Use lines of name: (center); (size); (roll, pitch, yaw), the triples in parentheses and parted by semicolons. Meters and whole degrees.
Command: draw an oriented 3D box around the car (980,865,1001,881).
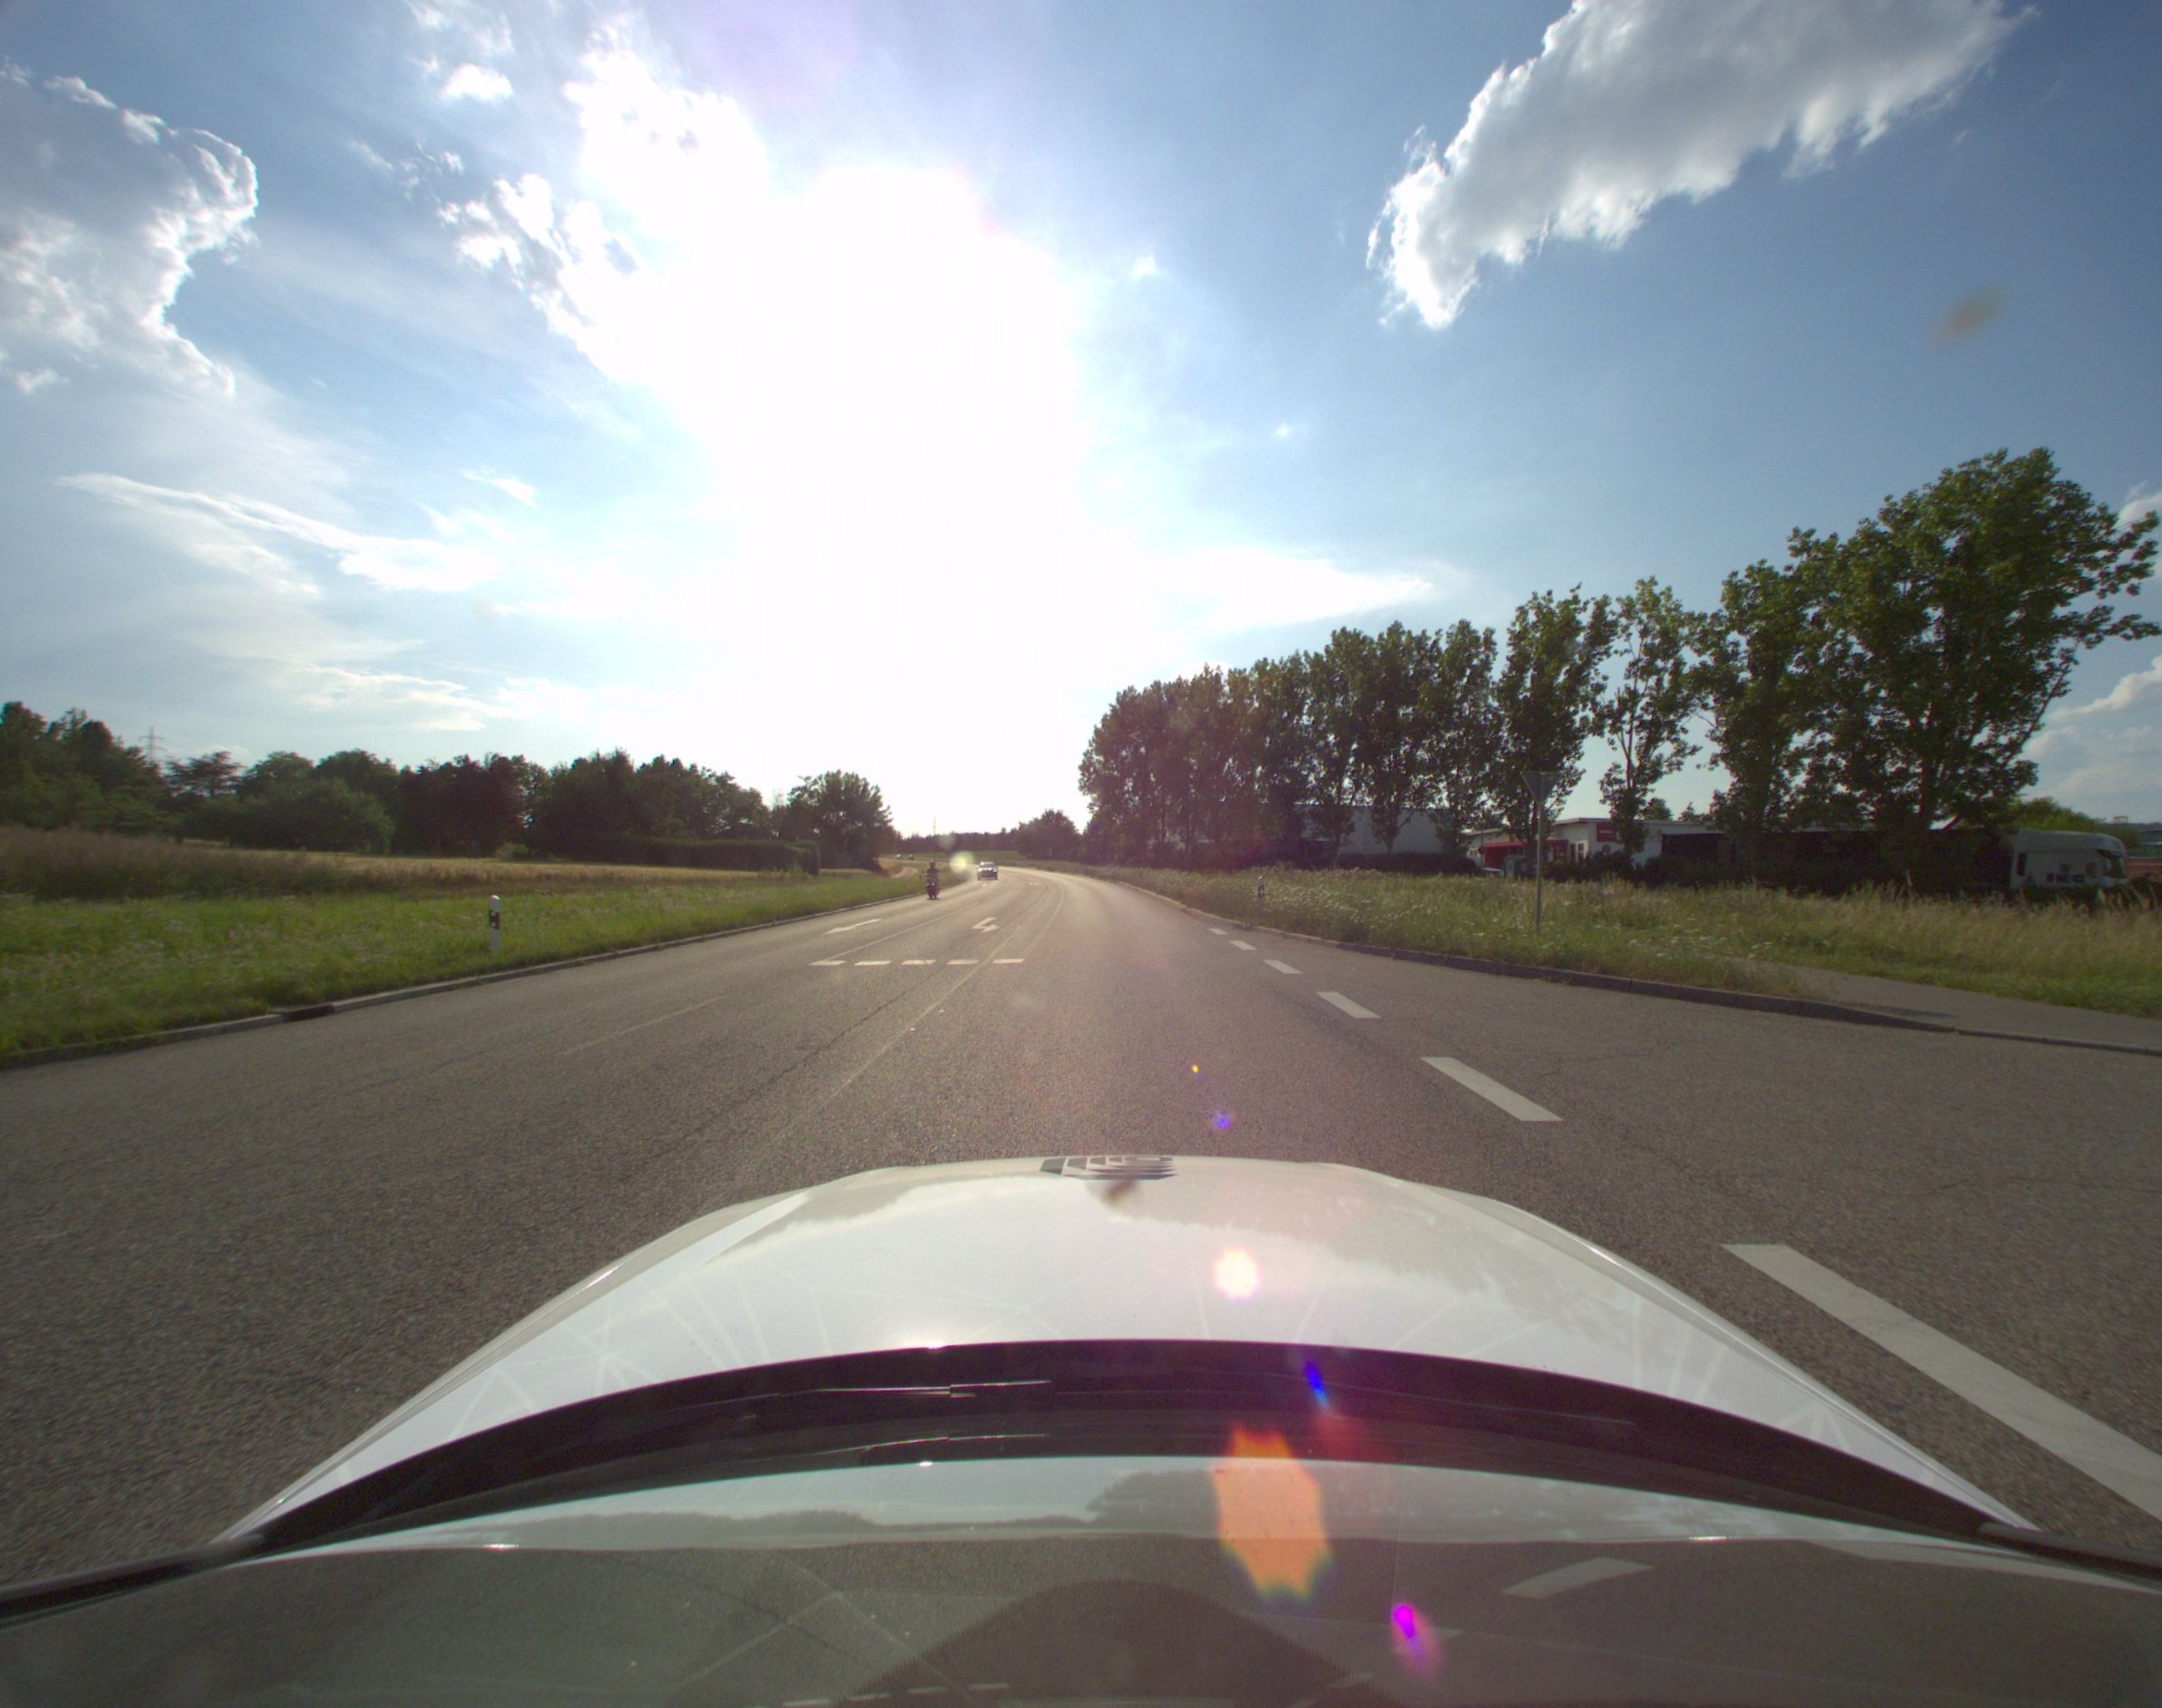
car: (-7.995, 1.670, 72.267); (1.681, 1.349, 3.994); (0, 0, -4)

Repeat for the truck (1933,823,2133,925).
truck: (39.832, 0.781, 34.236); (2.256, 3.915, 5.072); (4, -1, -28)

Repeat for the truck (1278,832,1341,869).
truck: (21.513, -0.261, 76.896); (2.633, 3.162, 5.661); (4, -2, -25)

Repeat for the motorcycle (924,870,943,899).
motorcycle: (-6.685, 1.357, 36.966); (0.584, 1.261, 2.118); (0, 0, -3)

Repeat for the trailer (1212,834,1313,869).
trailer: (18.345, -0.155, 83.785); (2.696, 3.142, 13.160); (4, -3, -25)

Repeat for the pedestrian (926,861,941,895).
pedestrian: (-6.688, 1.067, 36.959); (0.564, 1.505, 0.864); (0, 0, -3)

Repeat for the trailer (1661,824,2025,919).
trailer: (36.963, 0.751, 40.885); (2.252, 3.915, 13.619); (4, -1, -22)

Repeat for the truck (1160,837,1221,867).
truck: (12.915, -0.240, 97.171); (2.522, 3.377, 9.612); (4, -1, -23)
